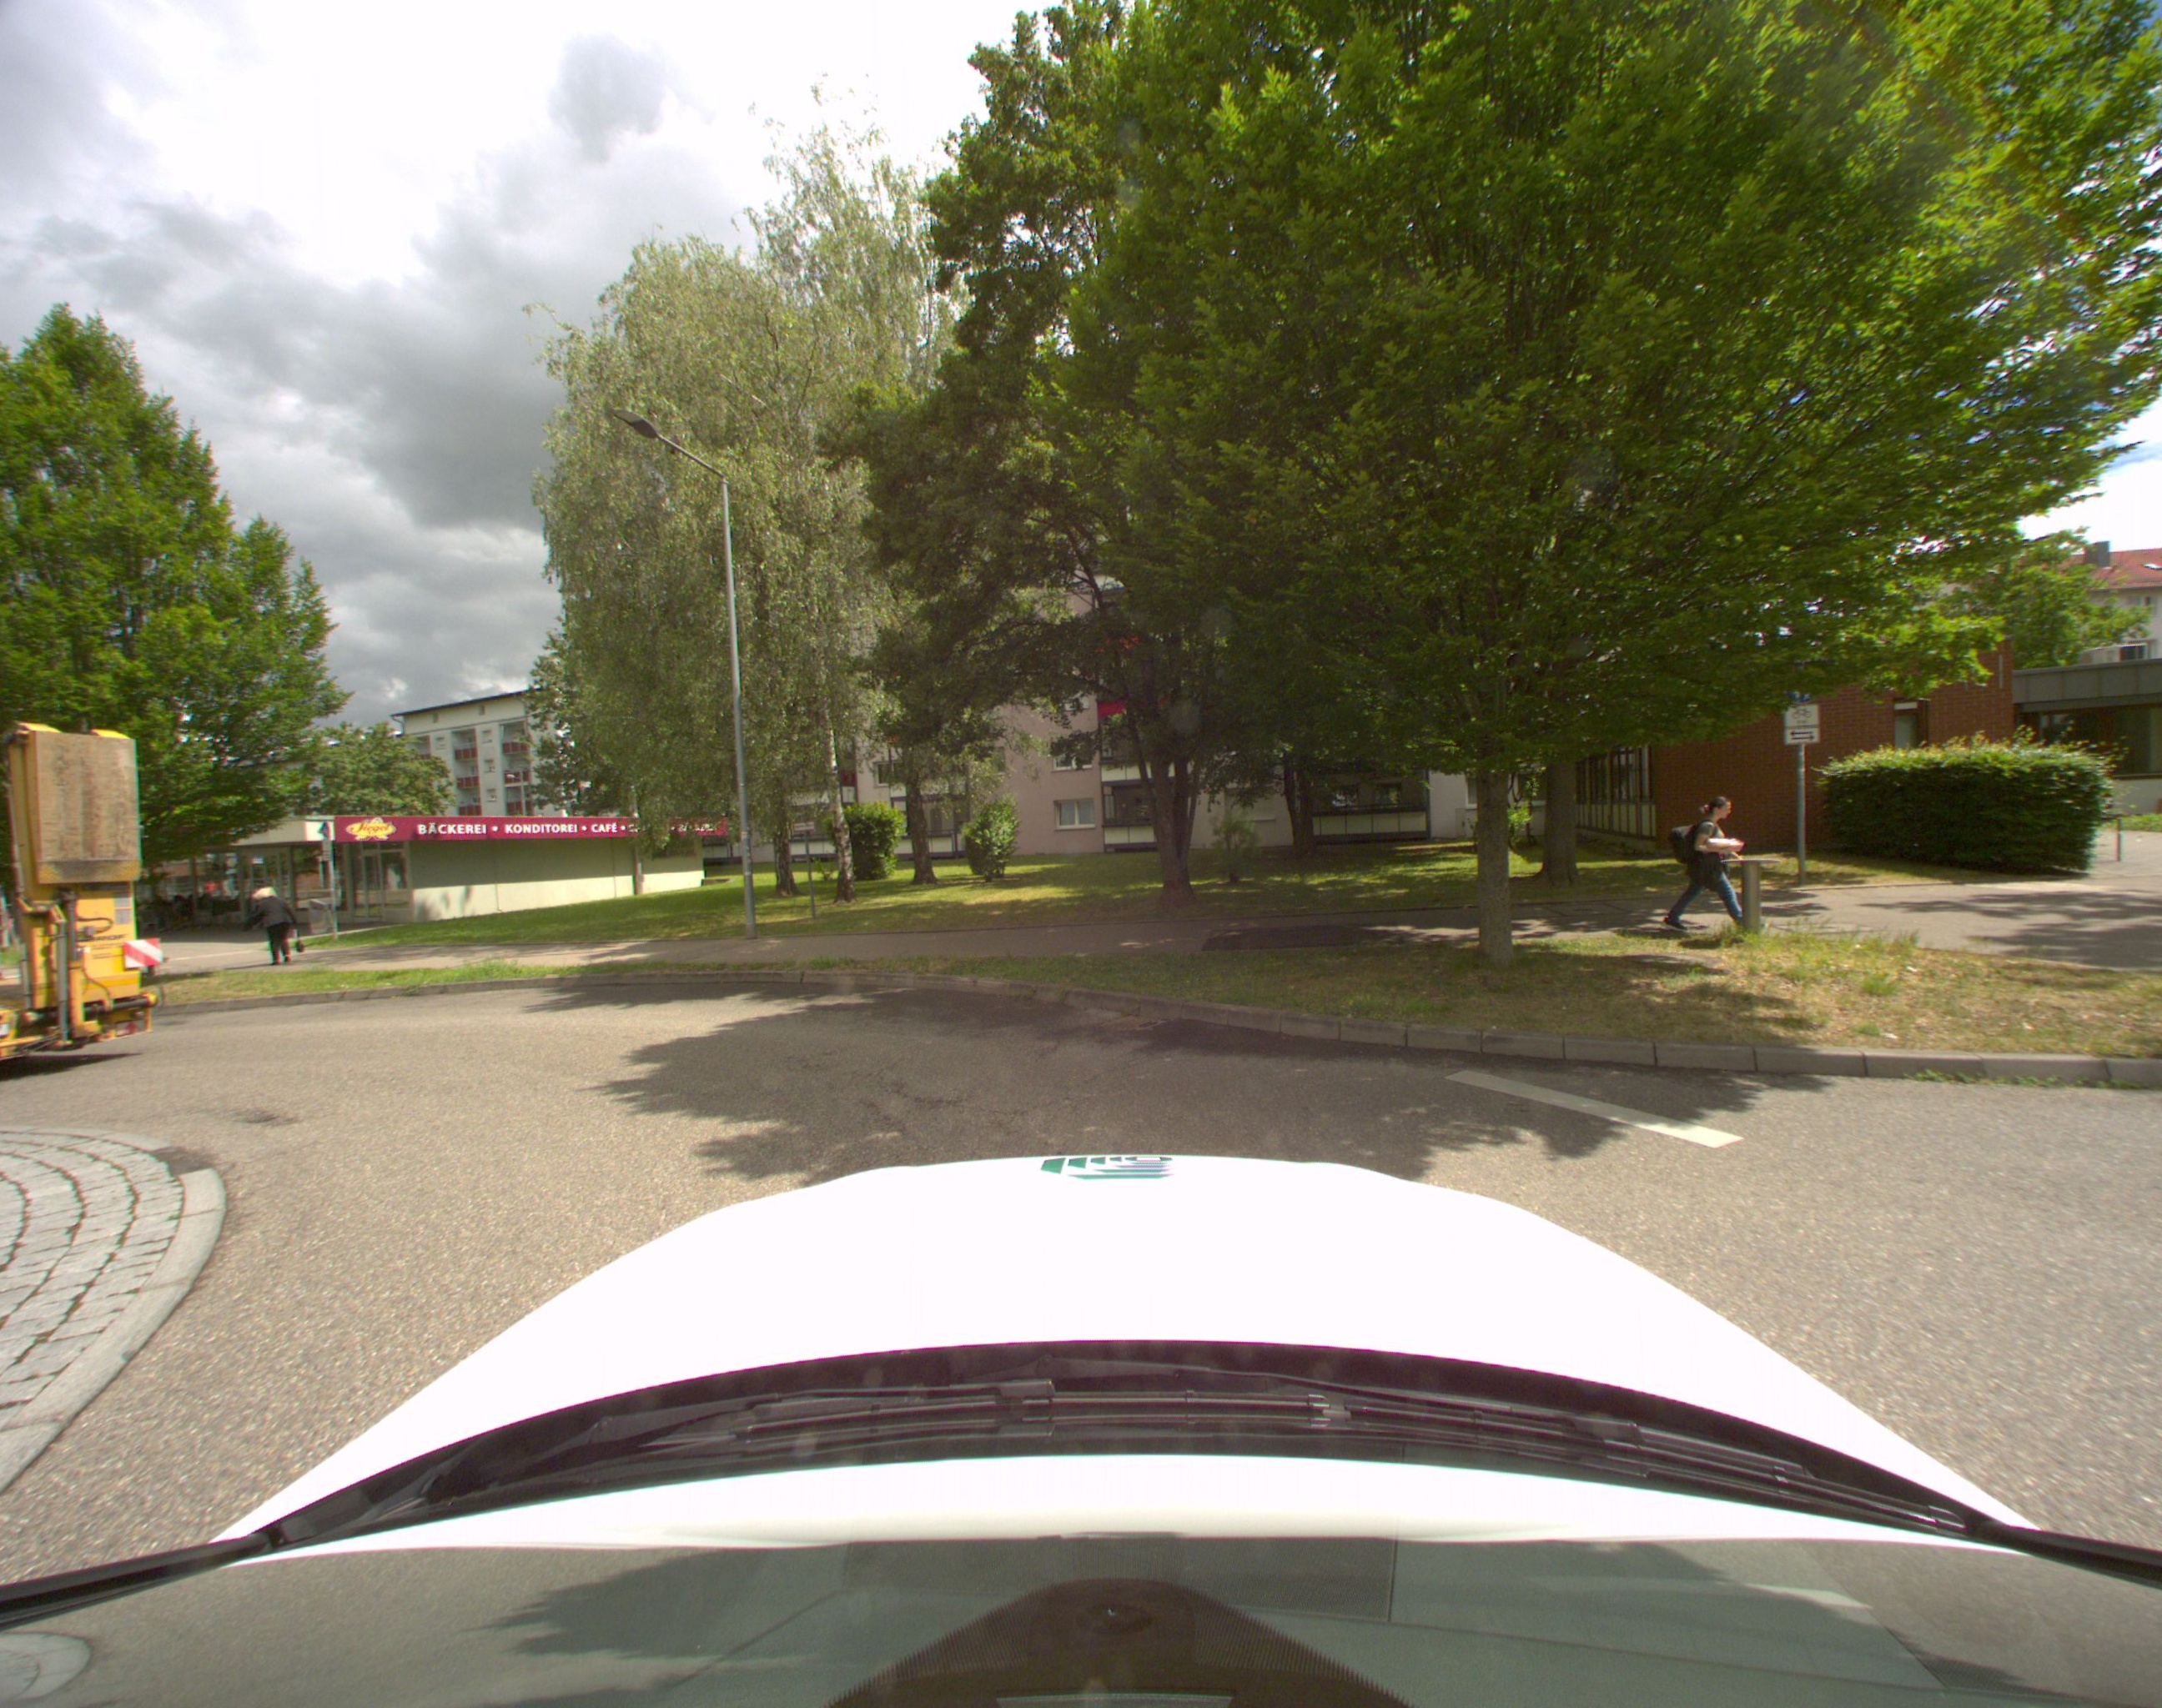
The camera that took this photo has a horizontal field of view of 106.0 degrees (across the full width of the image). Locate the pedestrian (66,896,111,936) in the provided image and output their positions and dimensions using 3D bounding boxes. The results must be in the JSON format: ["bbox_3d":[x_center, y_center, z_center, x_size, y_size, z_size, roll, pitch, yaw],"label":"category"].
[{"bbox_3d":[-36.283,2.261,29.763,0.603,1.324,0.886,-3,2,31],"label":"pedestrian"}]

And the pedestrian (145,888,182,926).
[{"bbox_3d":[-34.841,2.012,30.921,0.690,1.380,0.725,-3,2,30],"label":"pedestrian"}]

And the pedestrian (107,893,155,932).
[{"bbox_3d":[-35.128,2.156,30.112,0.813,1.324,0.885,0,3,23],"label":"pedestrian"}]

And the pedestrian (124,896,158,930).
[{"bbox_3d":[-36.110,2.248,31.295,0.690,1.201,0.725,-3,2,37],"label":"pedestrian"}]

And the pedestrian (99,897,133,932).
[{"bbox_3d":[-36.551,2.283,30.856,0.690,1.201,0.725,-3,2,37],"label":"pedestrian"}]

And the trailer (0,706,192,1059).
[{"bbox_3d":[-15.517,0.396,9.143,10.723,3.372,2.885,-1,0,16],"label":"trailer"}]

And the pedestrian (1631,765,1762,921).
[{"bbox_3d":[6.759,-0.122,8.991,0.832,1.579,0.724,-6,1,14],"label":"pedestrian"}]

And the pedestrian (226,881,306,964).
[{"bbox_3d":[-16.303,1.338,16.307,0.793,1.519,0.880,1,3,30],"label":"pedestrian"}]
